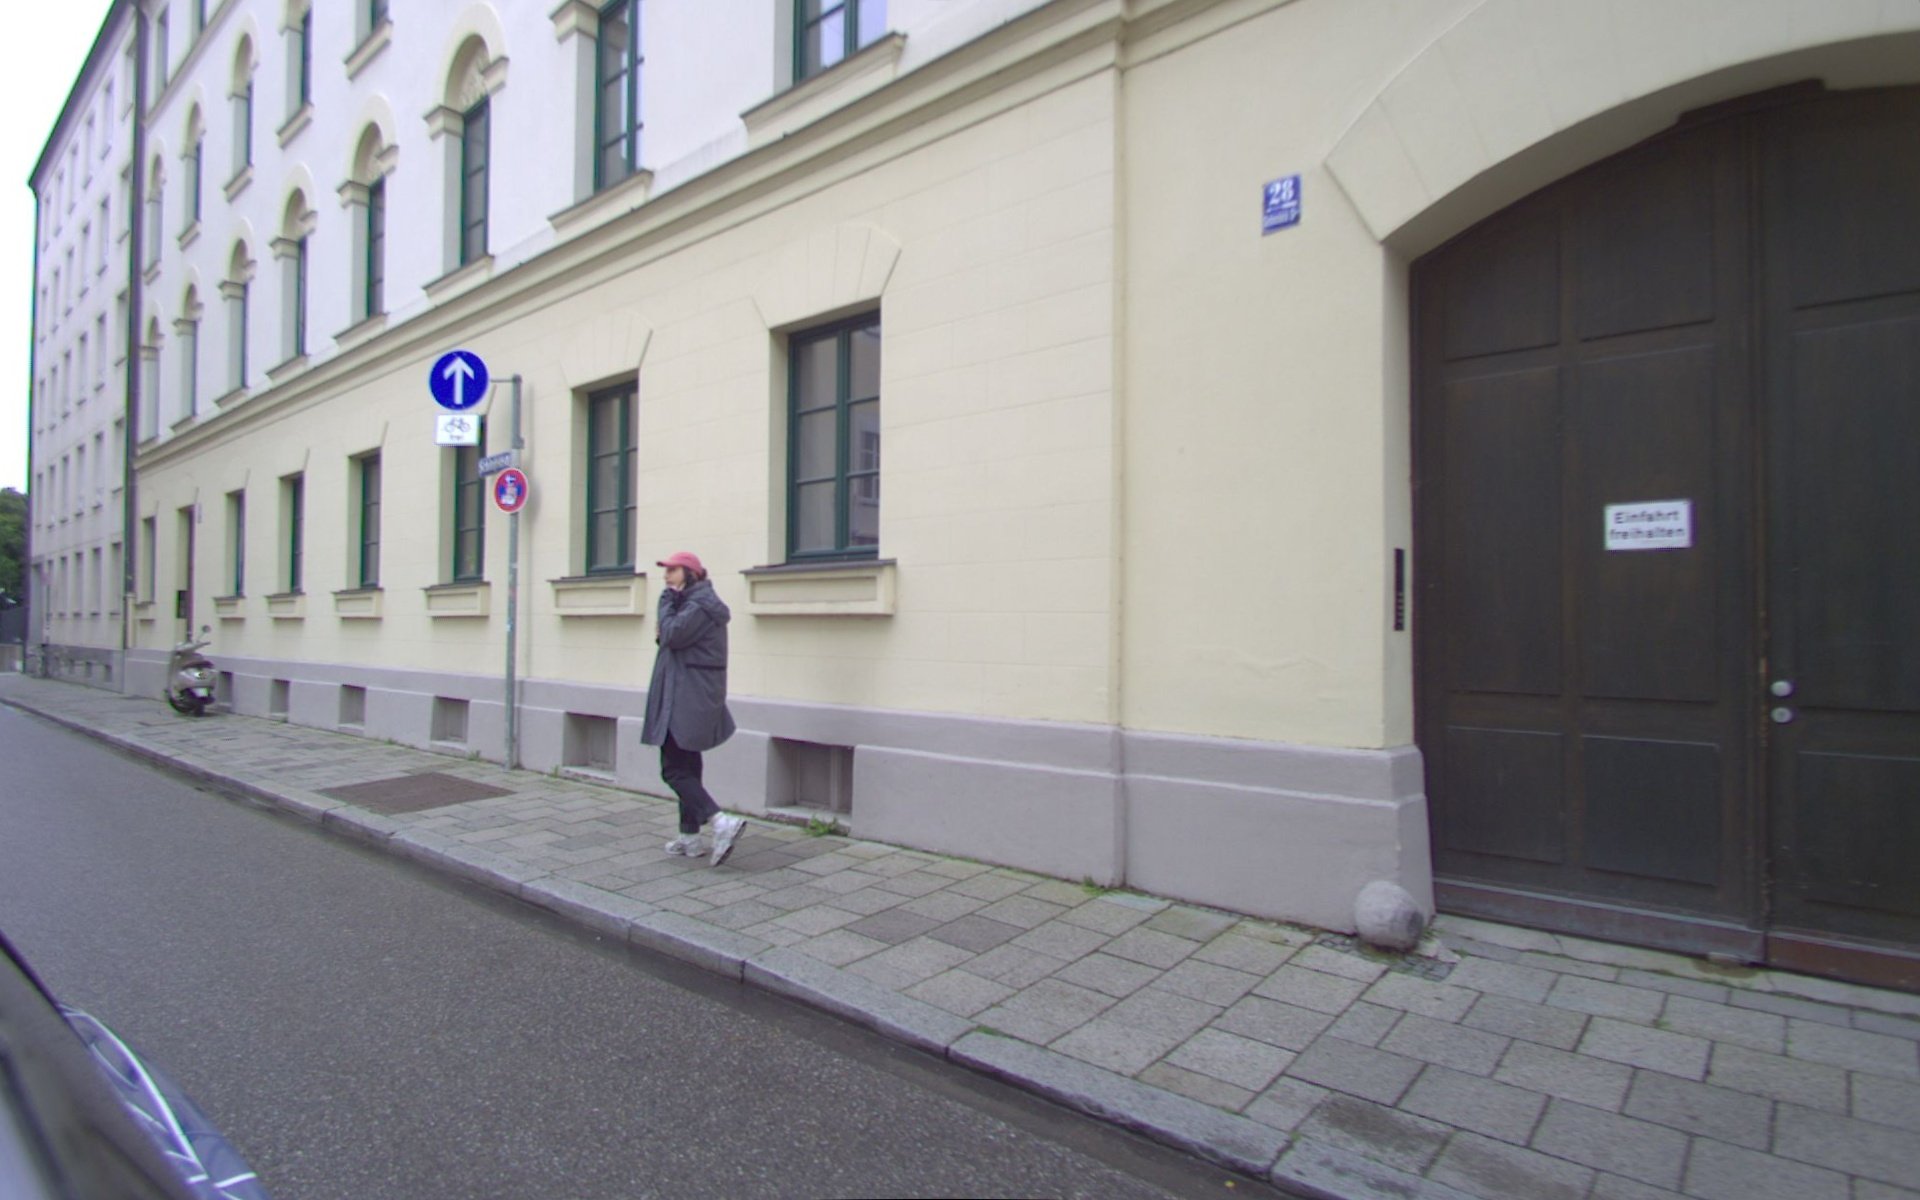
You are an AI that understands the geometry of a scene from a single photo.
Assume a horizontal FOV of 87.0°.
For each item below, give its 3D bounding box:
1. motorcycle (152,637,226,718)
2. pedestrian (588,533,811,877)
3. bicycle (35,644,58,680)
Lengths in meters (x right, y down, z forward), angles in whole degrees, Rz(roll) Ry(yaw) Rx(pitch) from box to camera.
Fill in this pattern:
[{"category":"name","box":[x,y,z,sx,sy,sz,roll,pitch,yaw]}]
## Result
[{"category":"motorcycle","box":[-12.022,1.168,15.765,1.708,1.183,0.595,-2,-2,42]},{"category":"pedestrian","box":[-1.510,0.564,5.852,0.989,1.769,0.801,-3,-3,39]},{"category":"bicycle","box":[-25.533,1.733,28.275,1.574,0.951,0.316,-2,0,43]}]
